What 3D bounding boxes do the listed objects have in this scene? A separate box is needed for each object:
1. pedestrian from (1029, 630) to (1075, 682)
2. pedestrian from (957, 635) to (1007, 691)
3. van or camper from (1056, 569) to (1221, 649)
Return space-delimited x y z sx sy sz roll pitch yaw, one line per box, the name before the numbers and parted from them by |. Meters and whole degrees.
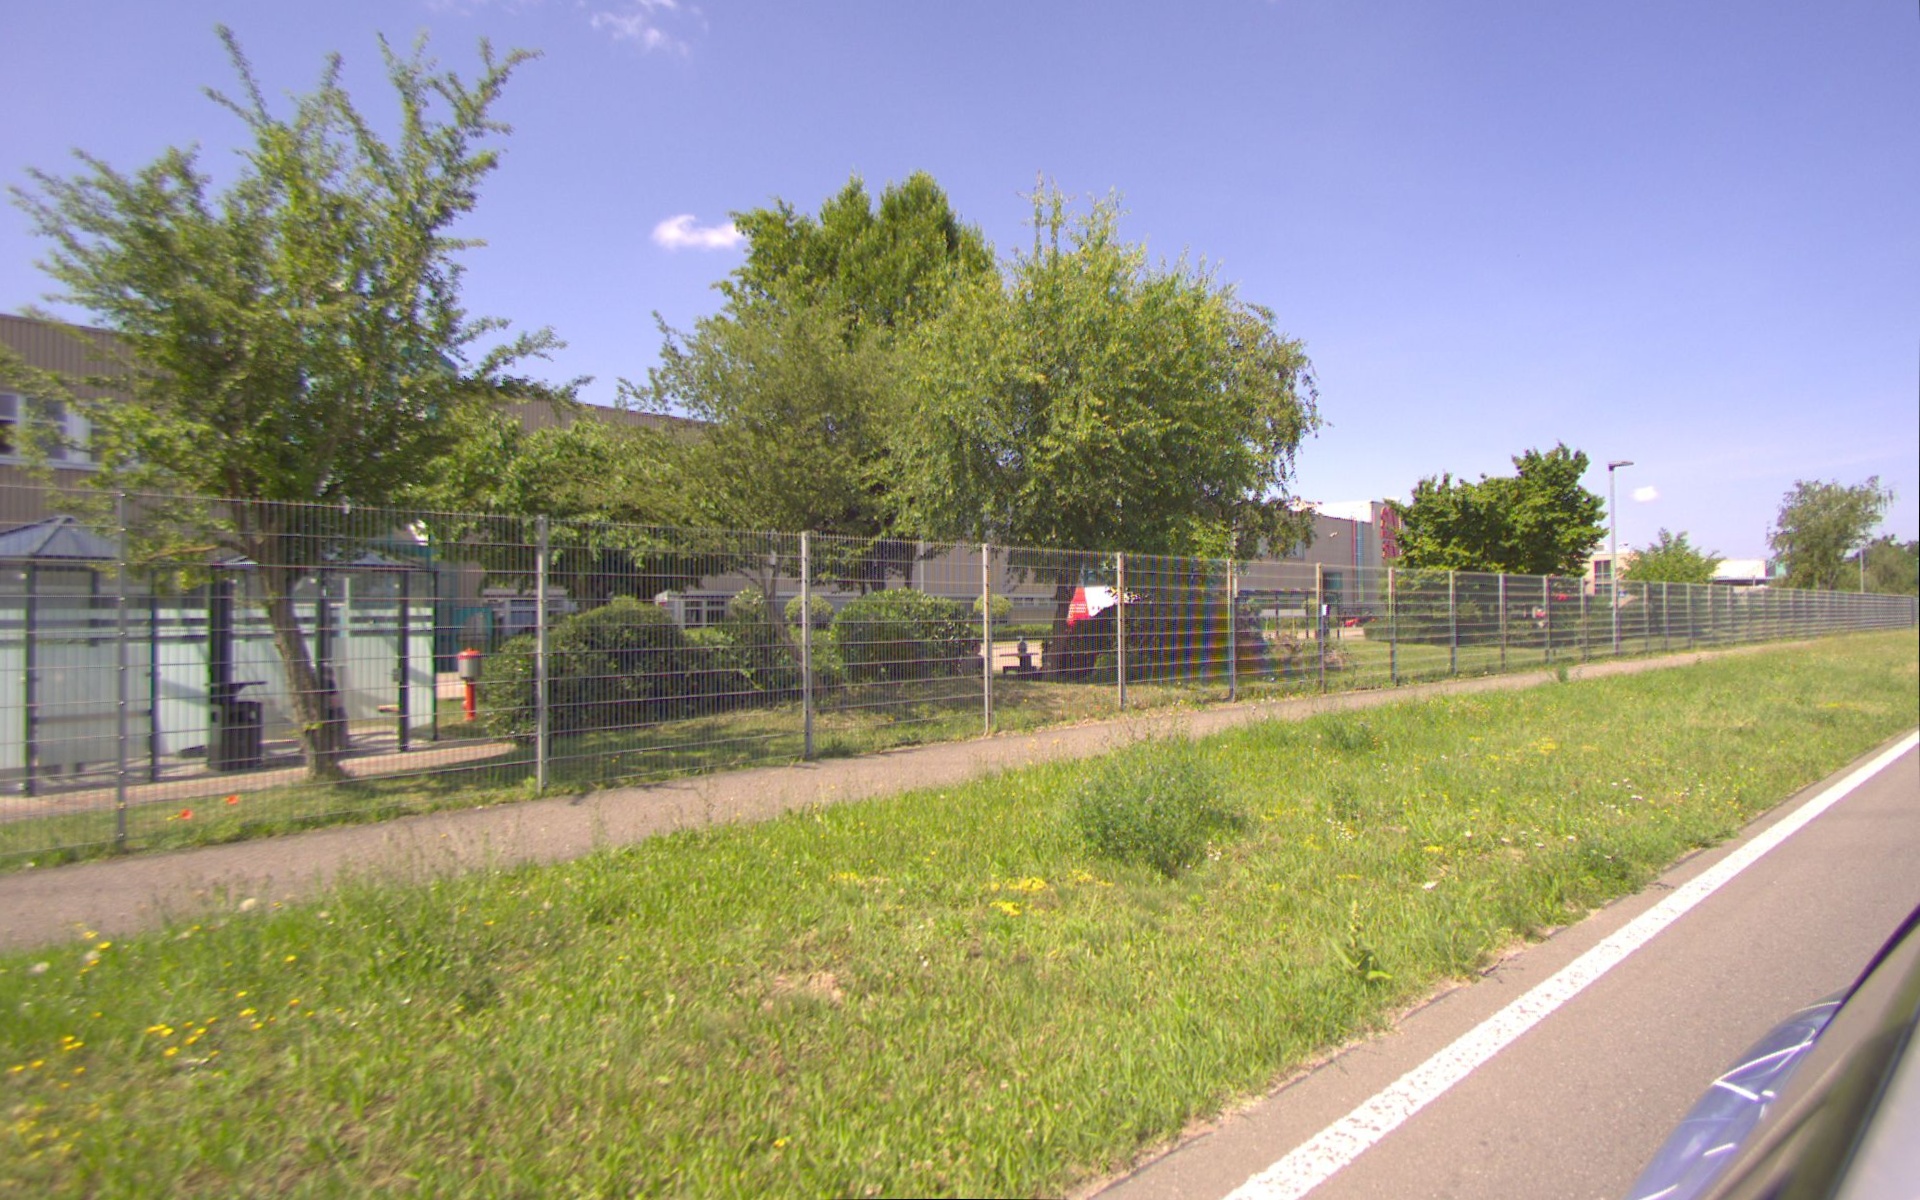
pedestrian | 1.675 1.011 18.433 0.662 0.905 0.505 -2 -2 34
pedestrian | 0.365 1.043 16.923 0.655 0.905 0.510 0 -2 -42
van or camper | 6.496 0.413 37.410 5.766 2.551 1.969 -5 -4 43
